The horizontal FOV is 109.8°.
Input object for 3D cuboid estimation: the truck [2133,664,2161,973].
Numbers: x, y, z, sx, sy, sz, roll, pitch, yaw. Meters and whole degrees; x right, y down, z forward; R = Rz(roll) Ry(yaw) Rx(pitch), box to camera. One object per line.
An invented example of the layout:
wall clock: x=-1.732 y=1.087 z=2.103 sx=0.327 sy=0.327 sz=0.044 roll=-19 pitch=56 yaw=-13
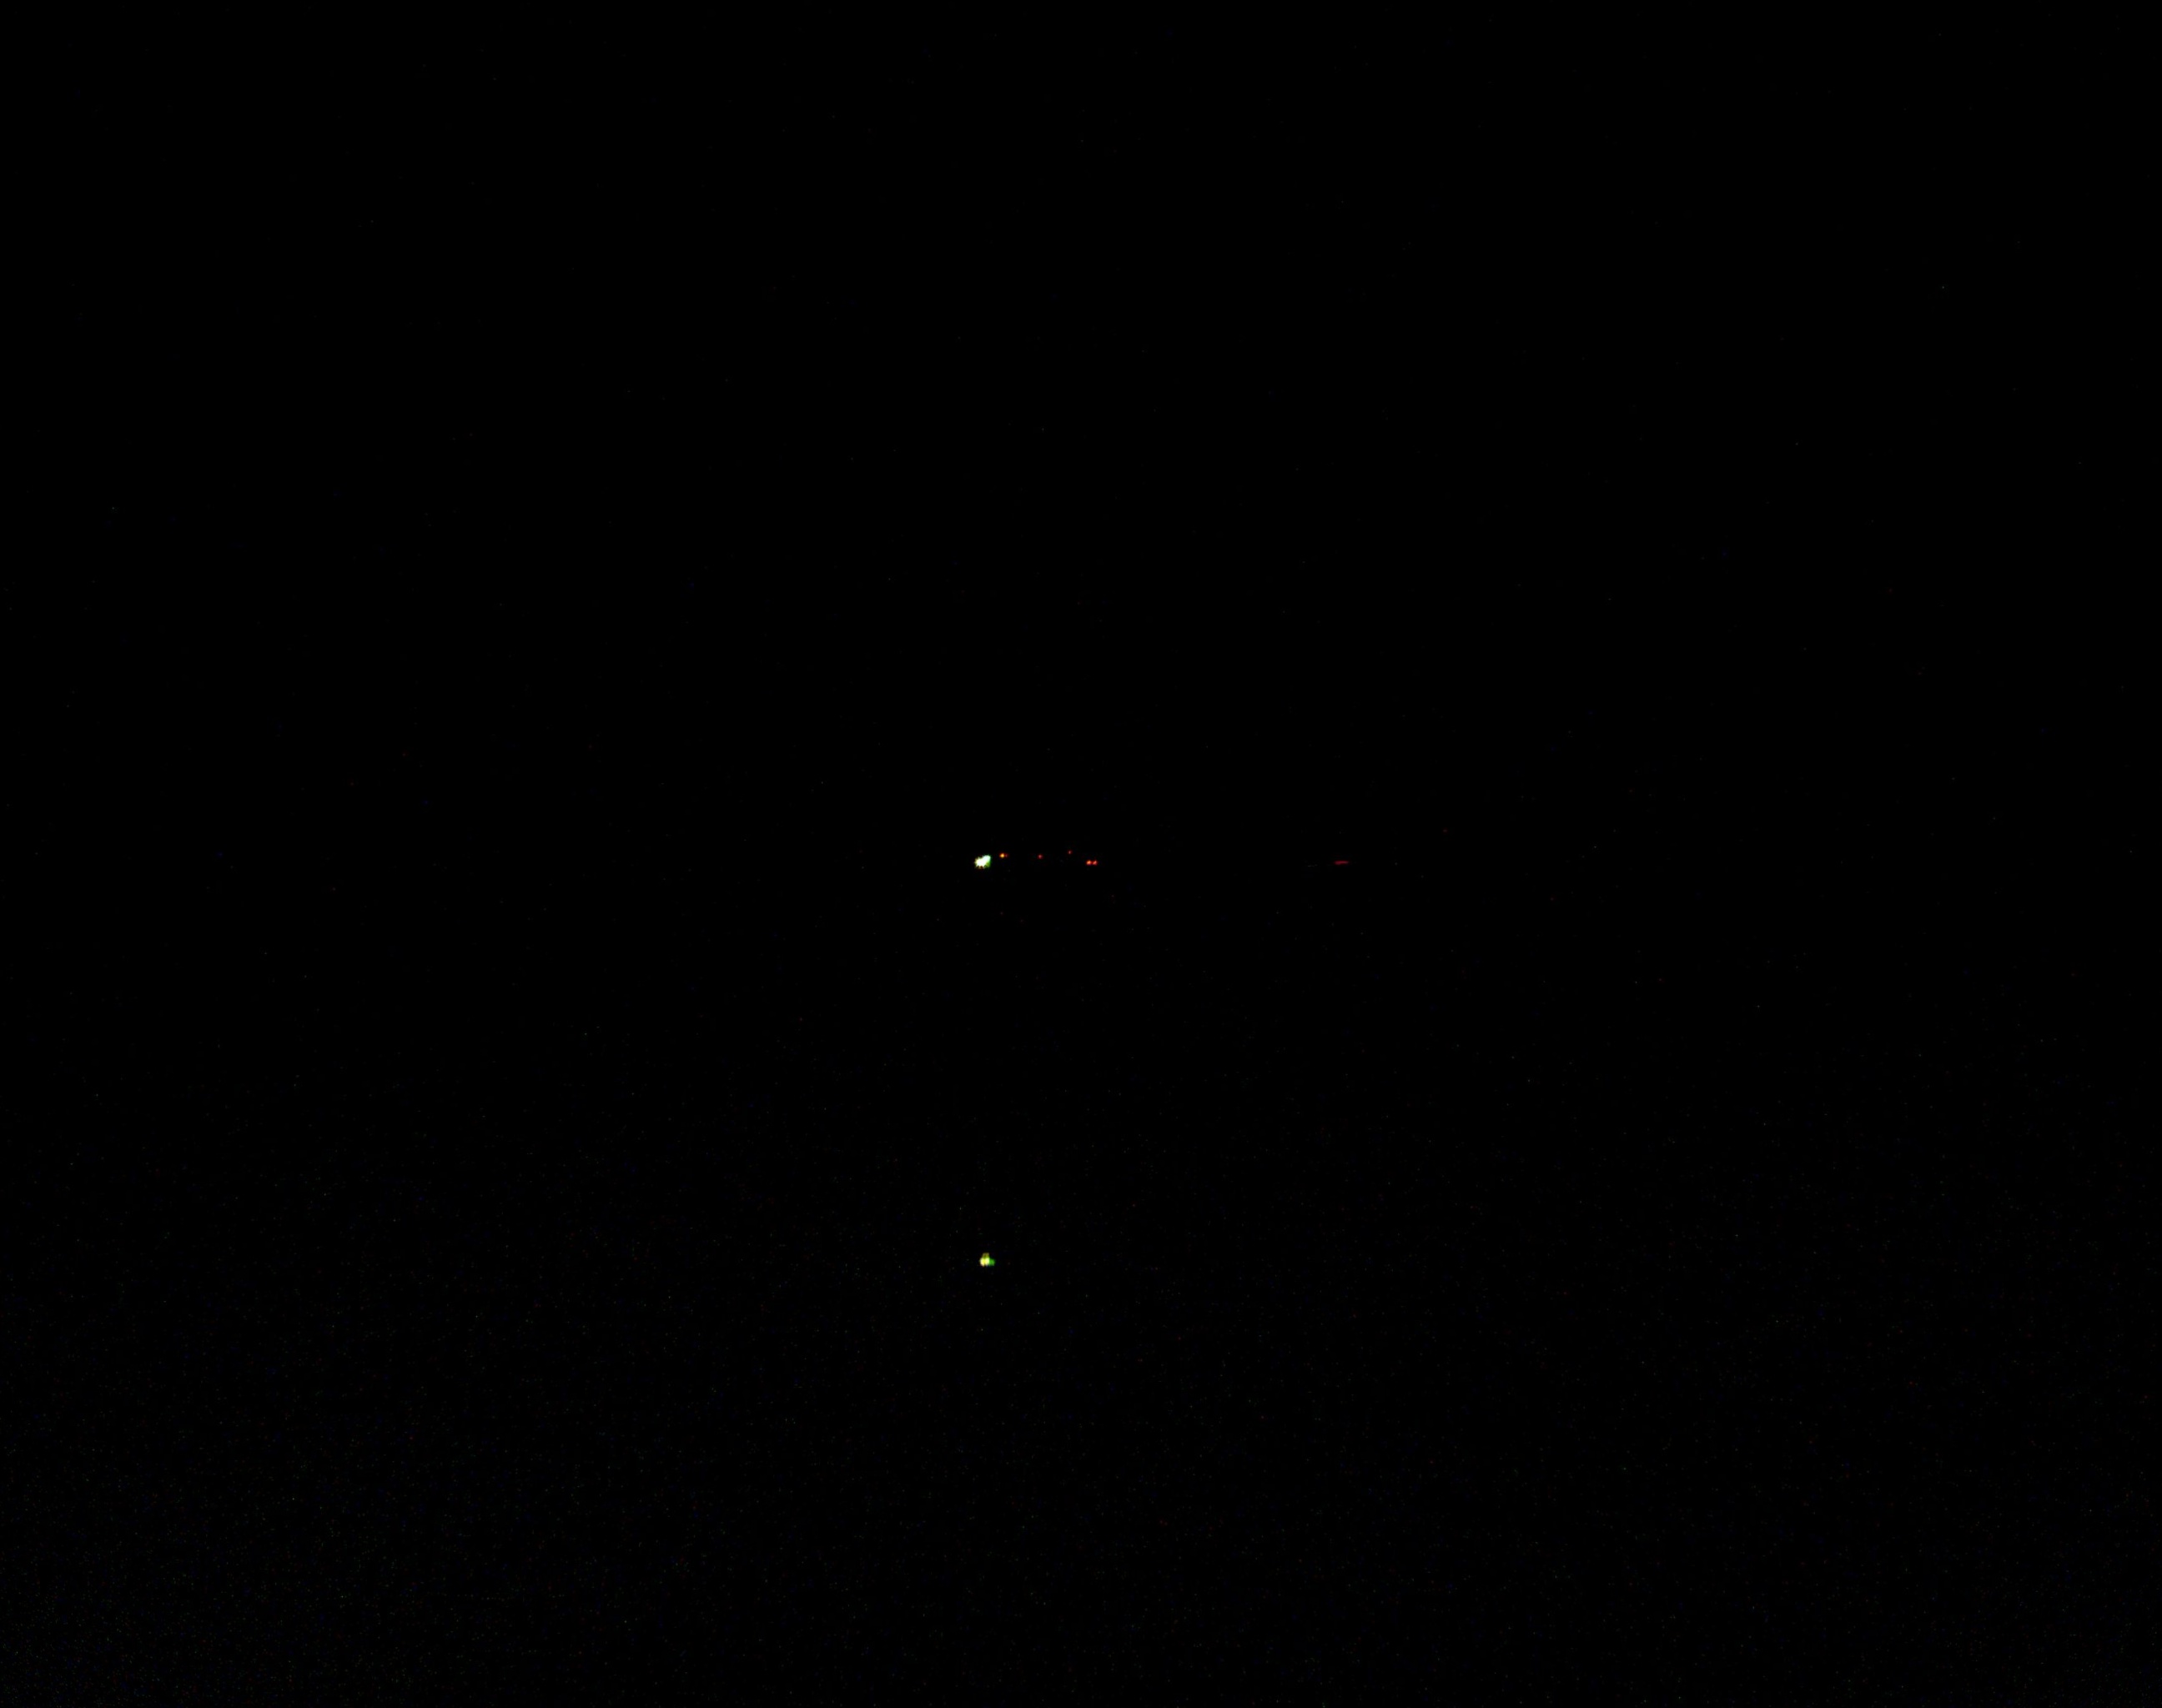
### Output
truck: x=15.271 y=-0.470 z=4.797 sx=2.687 sy=4.021 sz=10.654 roll=-1 pitch=0 yaw=1

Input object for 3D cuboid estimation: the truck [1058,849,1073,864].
truck: x=-4.475 y=0.683 z=211.200 sx=2.754 sy=4.103 sz=13.899 roll=-1 pitch=0 yaw=-7
